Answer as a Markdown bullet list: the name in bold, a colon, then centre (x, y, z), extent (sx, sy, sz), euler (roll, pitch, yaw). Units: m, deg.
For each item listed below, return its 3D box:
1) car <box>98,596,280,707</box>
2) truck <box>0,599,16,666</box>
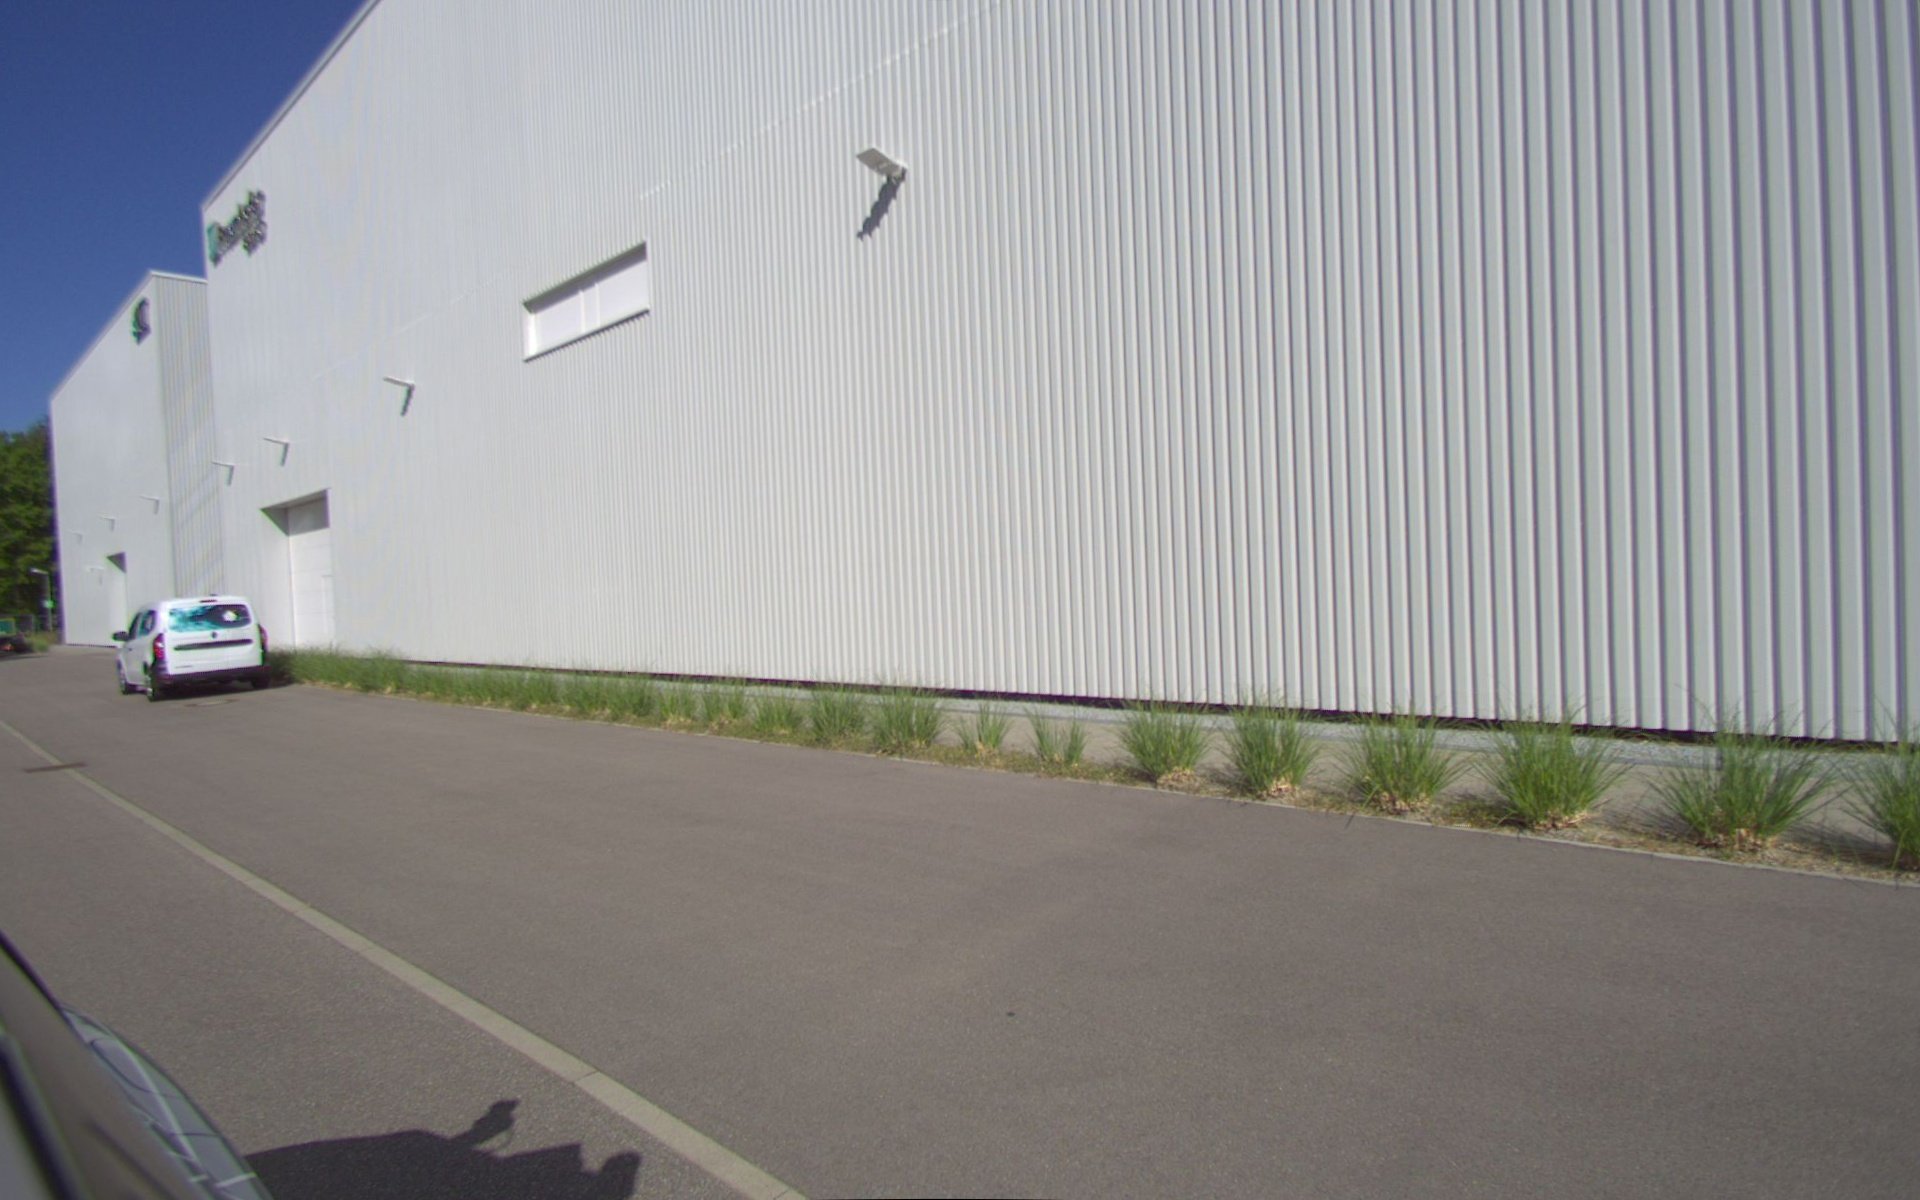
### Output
- **car**: centre (-15.002, 0.944, 19.590), extent (4.597, 1.803, 1.908), euler (-2, 2, 42)
- **truck**: centre (-44.277, 1.604, 43.470), extent (9.655, 2.736, 2.564), euler (-3, 3, 30)
